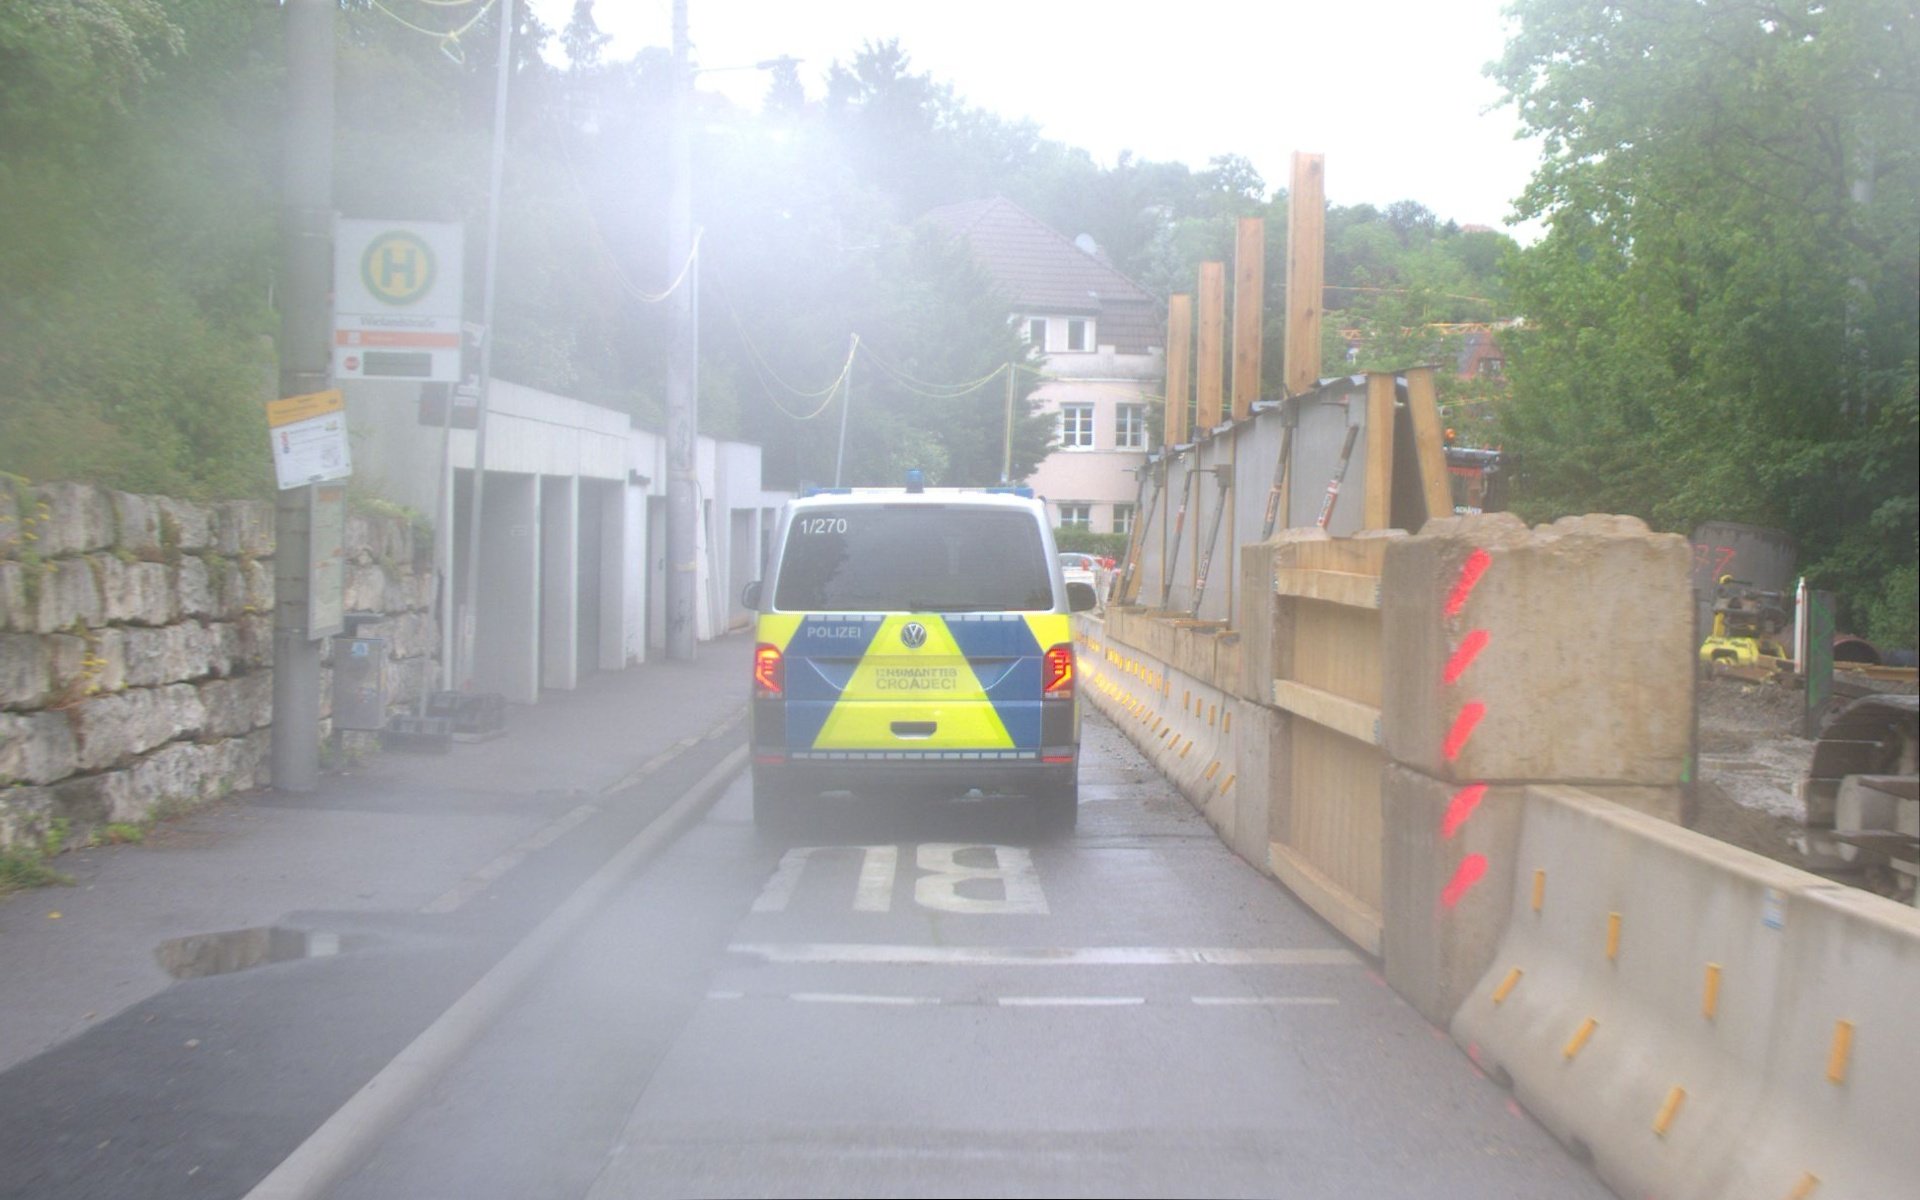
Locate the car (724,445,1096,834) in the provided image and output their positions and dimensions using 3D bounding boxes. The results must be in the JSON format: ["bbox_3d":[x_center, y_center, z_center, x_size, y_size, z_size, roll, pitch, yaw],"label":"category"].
[{"bbox_3d":[-0.296,0.219,20.780,1.908,2.003,4.439,3,0,-1],"label":"car"}]

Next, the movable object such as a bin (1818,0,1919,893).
[{"bbox_3d":[5.907,-1.598,12.600,3.688,5.049,7.151,1,0,28],"label":"movable object such as a bin"}]
